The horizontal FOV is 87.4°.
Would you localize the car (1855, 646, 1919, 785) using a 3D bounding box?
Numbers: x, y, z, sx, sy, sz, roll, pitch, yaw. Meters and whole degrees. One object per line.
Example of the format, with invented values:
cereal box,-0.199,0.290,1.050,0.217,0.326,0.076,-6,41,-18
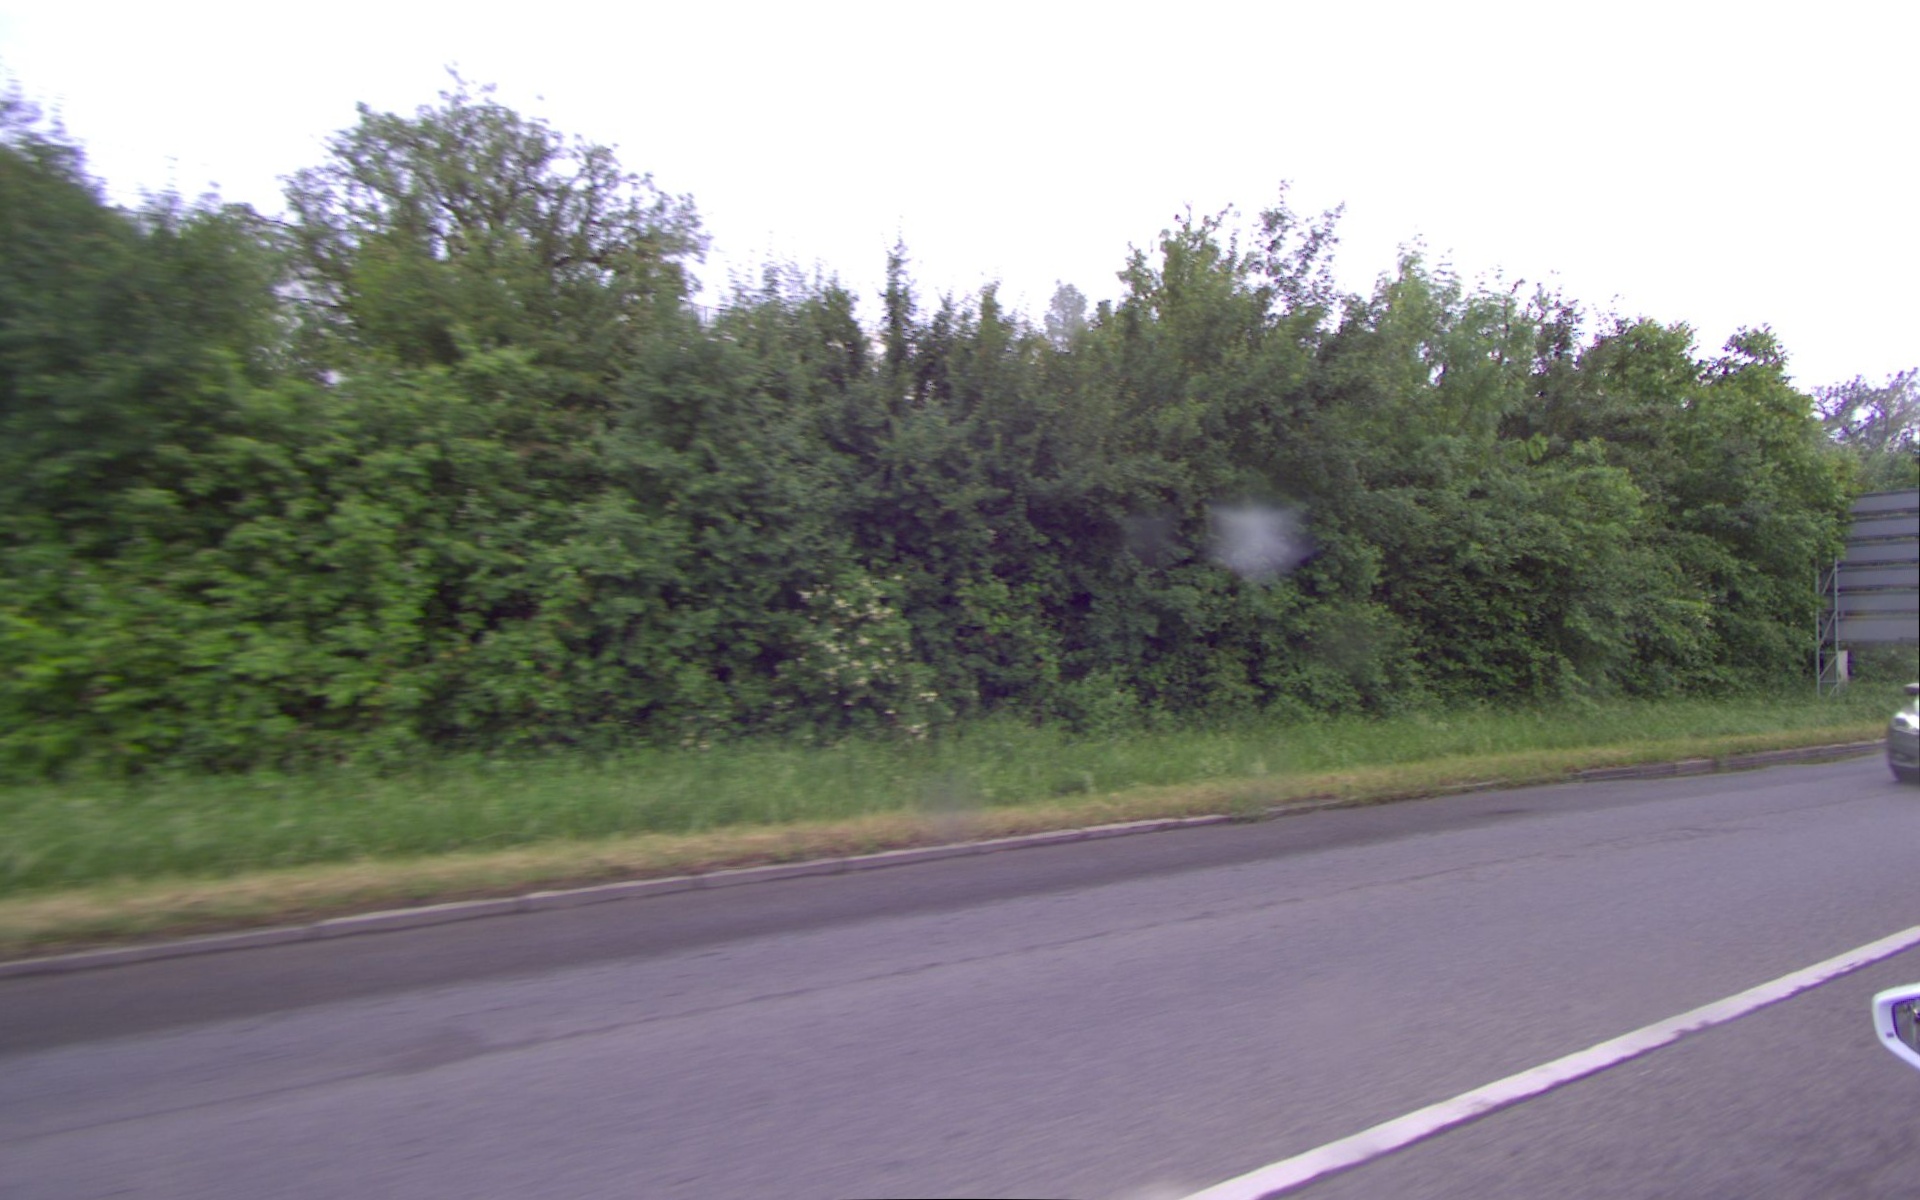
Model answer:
car,12.000,1.234,11.173,4.268,1.438,1.817,1,-2,-30
